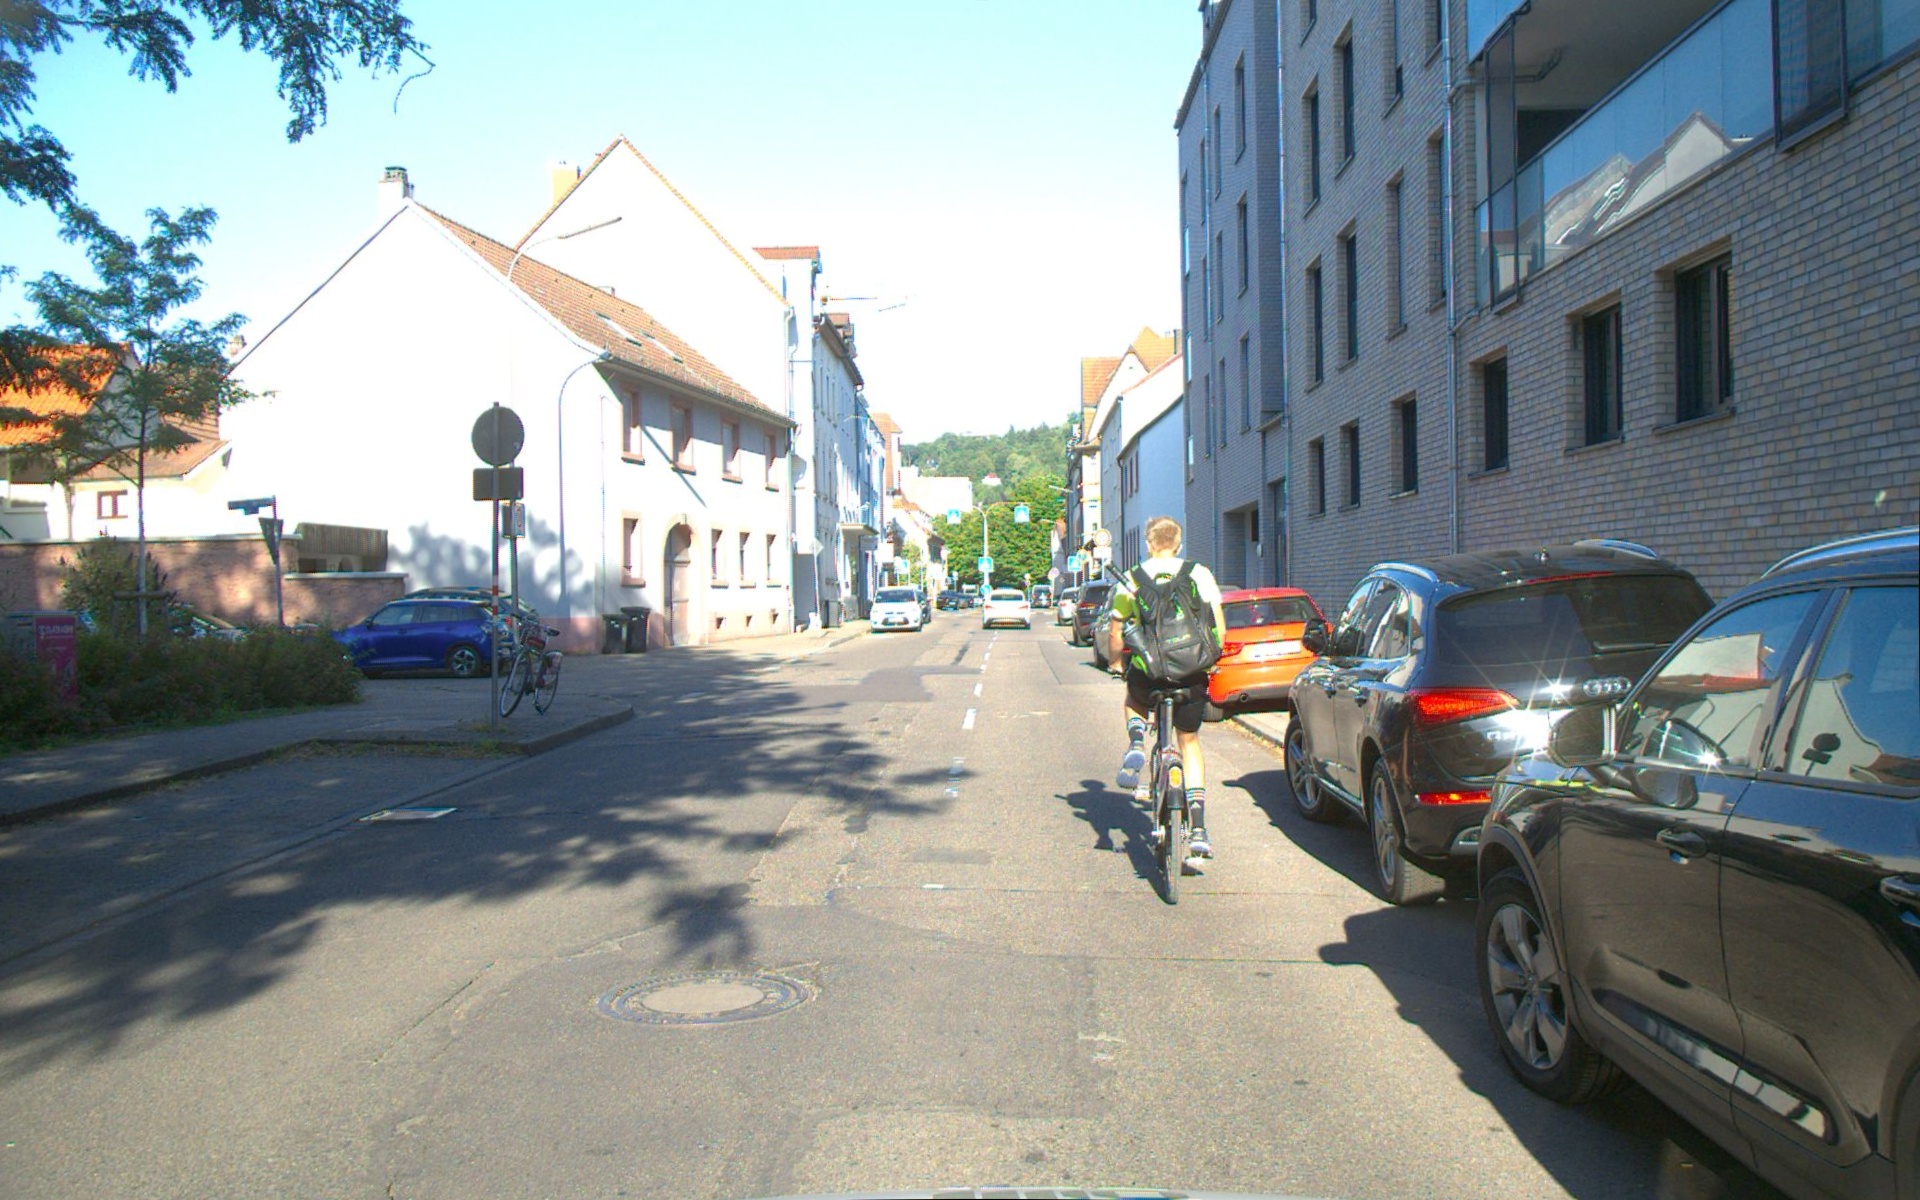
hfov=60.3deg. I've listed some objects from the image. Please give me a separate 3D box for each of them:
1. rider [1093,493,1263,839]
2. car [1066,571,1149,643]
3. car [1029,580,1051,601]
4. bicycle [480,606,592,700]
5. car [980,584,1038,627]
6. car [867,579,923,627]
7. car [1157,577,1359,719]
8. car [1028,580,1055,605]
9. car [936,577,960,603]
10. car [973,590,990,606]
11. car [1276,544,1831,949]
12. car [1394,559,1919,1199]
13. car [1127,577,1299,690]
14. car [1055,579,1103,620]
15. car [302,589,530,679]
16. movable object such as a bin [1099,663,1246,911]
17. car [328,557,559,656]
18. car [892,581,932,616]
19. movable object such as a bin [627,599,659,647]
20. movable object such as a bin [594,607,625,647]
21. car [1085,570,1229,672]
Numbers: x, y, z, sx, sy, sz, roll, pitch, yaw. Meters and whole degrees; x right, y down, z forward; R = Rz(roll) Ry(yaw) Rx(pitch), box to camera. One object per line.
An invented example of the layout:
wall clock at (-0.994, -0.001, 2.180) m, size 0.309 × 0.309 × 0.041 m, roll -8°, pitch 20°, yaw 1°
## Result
rider at (1.062, 0.314, 8.265) m, size 0.640 × 1.589 × 1.083 m, roll 2°, pitch -1°, yaw -1°
car at (3.801, 0.138, 43.157) m, size 1.816 × 1.664 × 4.624 m, roll -3°, pitch 1°, yaw 2°
car at (6.928, -0.809, 142.658) m, size 1.780 × 1.659 × 4.002 m, roll -2°, pitch 1°, yaw 4°
bicycle at (-4.942, 0.595, 19.415) m, size 0.689 × 1.020 × 1.942 m, roll 0°, pitch 0°, yaw 4°
car at (1.783, 0.175, 60.946) m, size 1.953 × 1.492 × 3.999 m, roll -1°, pitch 0°, yaw -1°
car at (-2.347, 0.073, 60.557) m, size 1.953 × 1.676 × 5.220 m, roll 0°, pitch 1°, yaw -1°
car at (3.512, 0.504, 20.177) m, size 1.678 × 1.428 × 4.073 m, roll -4°, pitch 0°, yaw 1°
car at (6.483, -0.613, 131.298) m, size 1.969 × 1.885 × 4.000 m, roll 0°, pitch 1°, yaw 0°
car at (-0.952, -0.845, 136.901) m, size 1.953 × 2.049 × 4.000 m, roll 0°, pitch 1°, yaw 0°
car at (2.518, -0.253, 194.206) m, size 1.771 × 1.731 × 4.190 m, roll -3°, pitch 1°, yaw -2°
car at (3.019, 0.589, 9.553) m, size 1.850 × 1.742 × 4.777 m, roll -1°, pitch 1°, yaw 5°
car at (2.417, 0.661, 3.568) m, size 1.779 × 1.492 × 4.269 m, roll -1°, pitch 0°, yaw -1°
car at (3.734, 0.434, 25.134) m, size 1.952 × 1.532 × 4.367 m, roll -1°, pitch 1°, yaw 0°
car at (4.761, -0.053, 66.537) m, size 1.705 × 1.518 × 4.440 m, roll -2°, pitch 0°, yaw 2°
car at (-10.469, 0.625, 32.031) m, size 3.689 × 1.556 × 2.001 m, roll -2°, pitch 1°, yaw 2°
movable object such as a bin at (1.028, 0.874, 8.327) m, size 0.445 × 1.051 × 1.840 m, roll 2°, pitch -1°, yaw -1°
car at (-11.107, 0.113, 35.760) m, size 4.273 × 1.825 × 1.989 m, roll 3°, pitch 3°, yaw 2°
car at (-2.230, -0.065, 77.103) m, size 1.695 × 1.525 × 3.959 m, roll -1°, pitch 0°, yaw 0°
movable object such as a bin at (-7.536, 0.541, 39.305) m, size 0.586 × 1.113 × 0.751 m, roll 0°, pitch 0°, yaw 2°
movable object such as a bin at (-8.127, 0.626, 38.404) m, size 0.586 × 0.887 × 0.606 m, roll -1°, pitch 0°, yaw -1°
car at (3.496, 0.312, 30.246) m, size 1.953 × 1.682 × 4.762 m, roll -1°, pitch 1°, yaw -1°
